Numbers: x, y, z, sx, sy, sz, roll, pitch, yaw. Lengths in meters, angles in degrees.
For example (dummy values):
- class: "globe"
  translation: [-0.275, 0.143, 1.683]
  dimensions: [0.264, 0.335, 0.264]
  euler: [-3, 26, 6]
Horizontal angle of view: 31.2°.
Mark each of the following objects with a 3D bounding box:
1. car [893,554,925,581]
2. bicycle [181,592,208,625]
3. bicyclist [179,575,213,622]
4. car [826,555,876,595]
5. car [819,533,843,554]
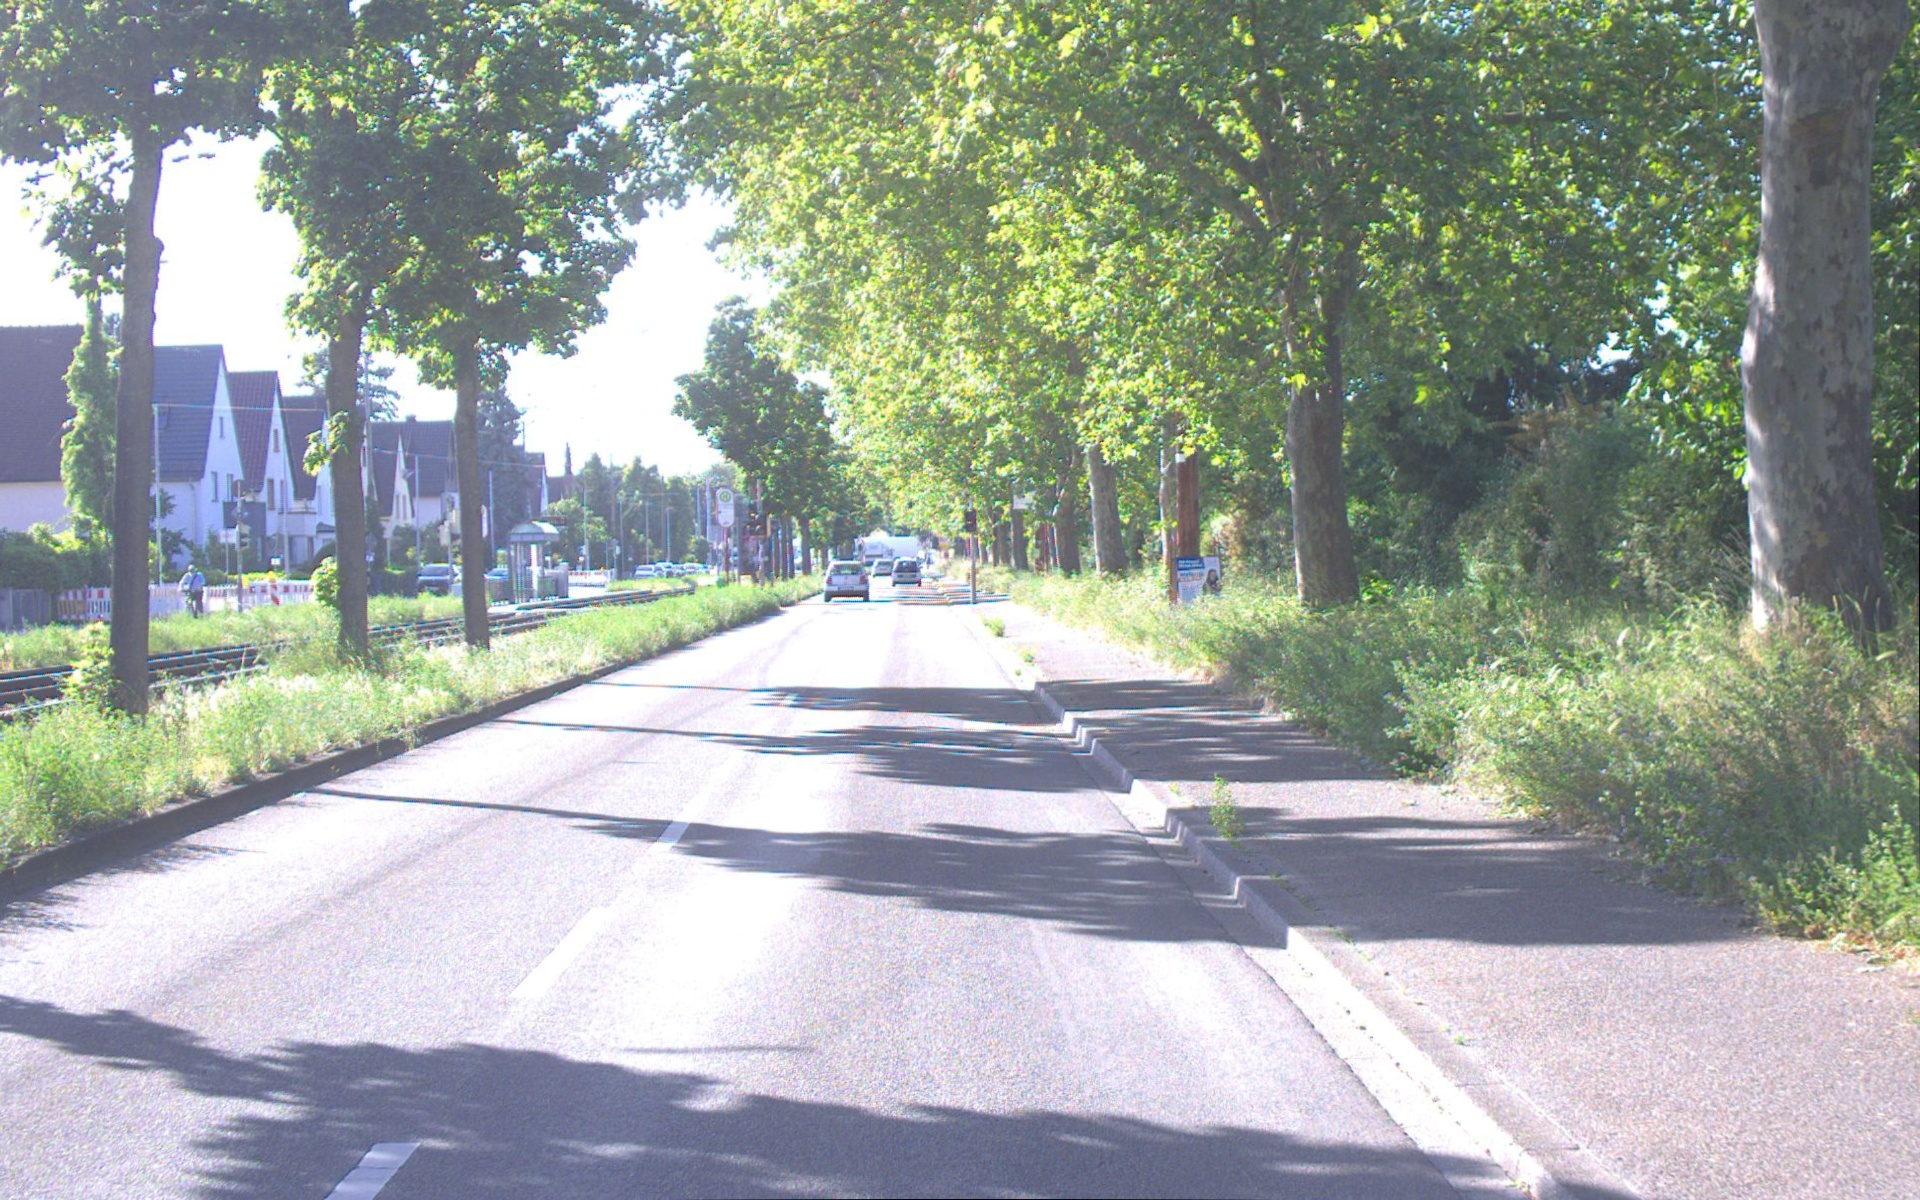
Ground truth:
- class: "car"
  translation: [-2.845, -1.813, 192.432]
  dimensions: [1.761, 1.508, 3.277]
  euler: [0, 0, 0]
- class: "bicycle"
  translation: [-20.643, 0.225, 92.753]
  dimensions: [0.441, 0.898, 2.061]
  euler: [0, 0, -5]
- class: "bicyclist"
  translation: [-20.619, -0.040, 92.831]
  dimensions: [0.798, 1.273, 0.737]
  euler: [0, 0, -5]
- class: "car"
  translation: [-3.934, -0.896, 124.378]
  dimensions: [1.738, 1.396, 3.277]
  euler: [0, 0, -1]
- class: "car"
  translation: [-9.148, -3.983, 243.784]
  dimensions: [1.527, 1.450, 3.287]
  euler: [0, 0, 0]
